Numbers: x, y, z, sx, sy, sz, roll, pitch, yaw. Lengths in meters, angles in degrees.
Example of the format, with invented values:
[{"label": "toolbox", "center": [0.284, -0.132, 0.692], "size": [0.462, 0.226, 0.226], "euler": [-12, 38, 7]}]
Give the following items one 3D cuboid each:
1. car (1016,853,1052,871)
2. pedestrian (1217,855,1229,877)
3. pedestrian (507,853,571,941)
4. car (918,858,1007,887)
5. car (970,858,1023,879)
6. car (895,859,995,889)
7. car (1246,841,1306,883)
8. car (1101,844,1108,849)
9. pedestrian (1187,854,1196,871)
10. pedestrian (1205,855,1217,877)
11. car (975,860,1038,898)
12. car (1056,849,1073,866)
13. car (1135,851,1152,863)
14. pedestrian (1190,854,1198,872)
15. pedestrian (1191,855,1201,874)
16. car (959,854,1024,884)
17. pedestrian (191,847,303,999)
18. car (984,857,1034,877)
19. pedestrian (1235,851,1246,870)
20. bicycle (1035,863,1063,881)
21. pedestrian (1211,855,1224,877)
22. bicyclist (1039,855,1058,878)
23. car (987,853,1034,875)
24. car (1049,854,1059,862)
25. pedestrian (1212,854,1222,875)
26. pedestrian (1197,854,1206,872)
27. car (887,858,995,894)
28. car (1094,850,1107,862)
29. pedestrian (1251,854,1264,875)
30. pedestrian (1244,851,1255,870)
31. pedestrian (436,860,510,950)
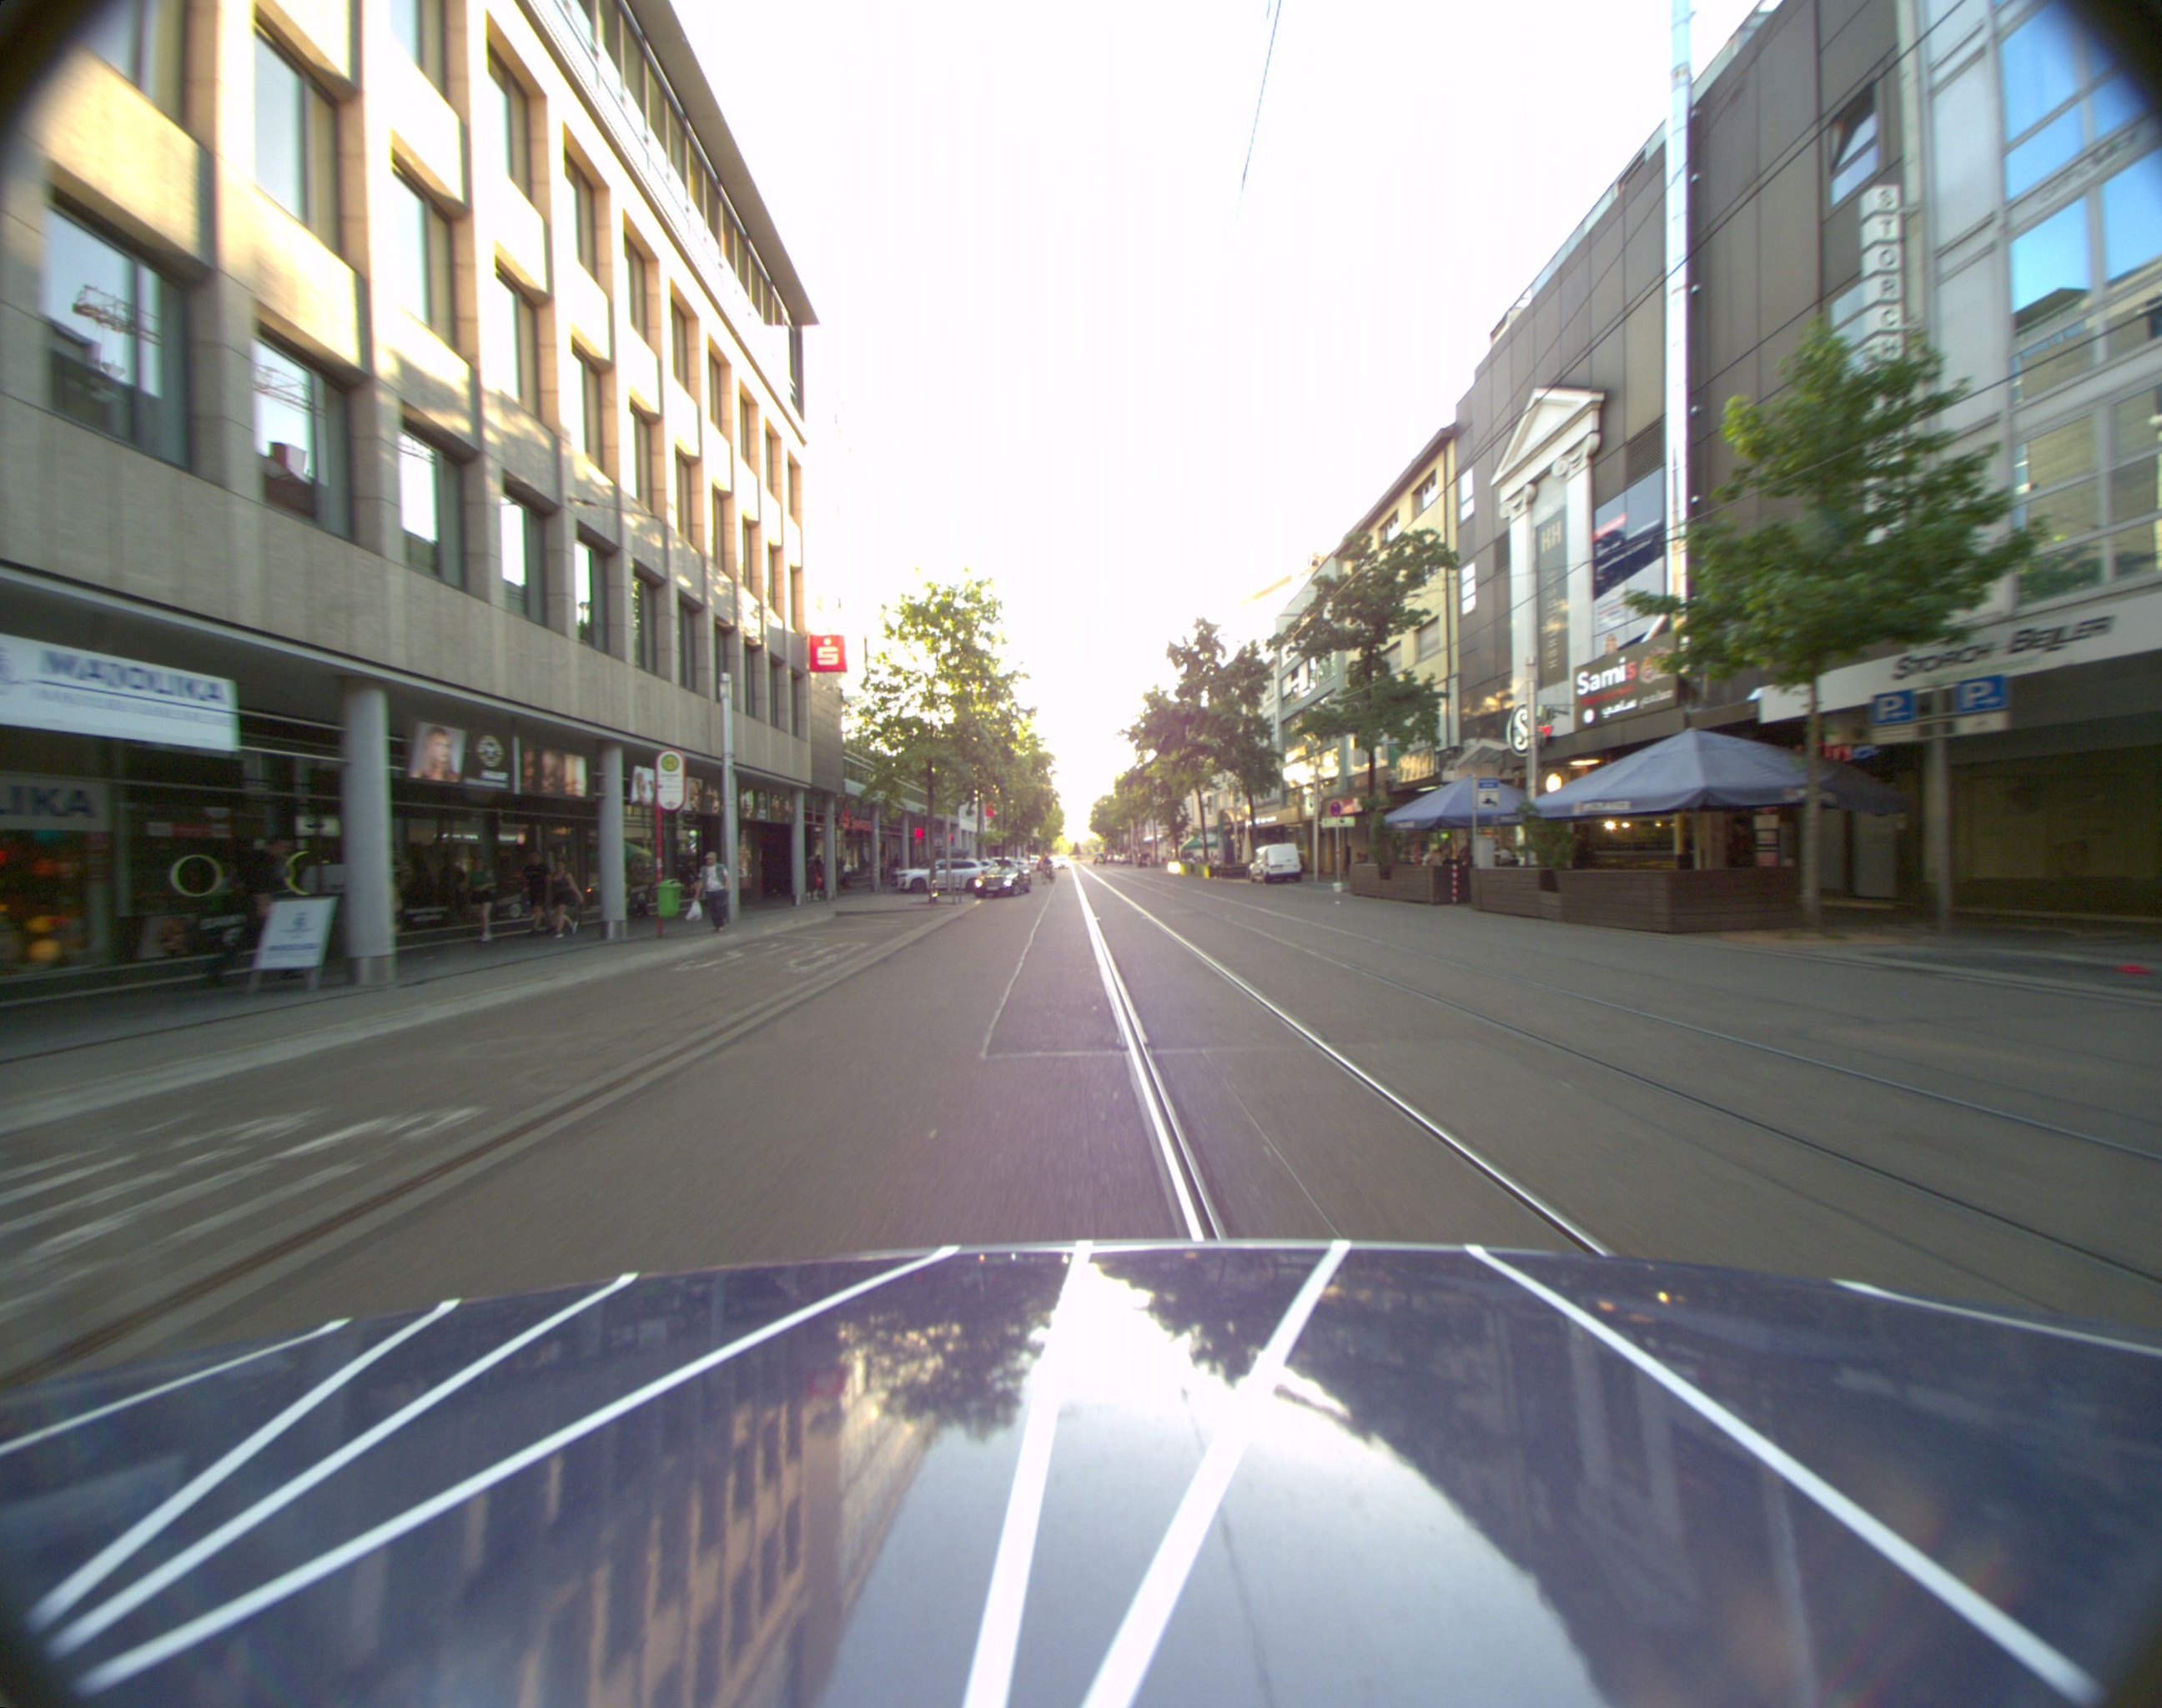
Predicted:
[{"label": "car", "center": [-5.212, 0.857, 85.516], "size": [1.860, 1.776, 4.007], "euler": [-4, 1, 34]}, {"label": "pedestrian", "center": [9.551, 0.778, 51.141], "size": [0.649, 1.451, 0.651], "euler": [-1, 1, 17]}, {"label": "pedestrian", "center": [-11.297, 0.873, 15.868], "size": [0.675, 1.762, 0.863], "euler": [-1, 1, -1]}, {"label": "car", "center": [-6.695, 1.018, 43.102], "size": [4.646, 1.578, 1.913], "euler": [1, 0, -35]}, {"label": "car", "center": [-7.163, 1.214, 64.373], "size": [4.005, 1.501, 1.796], "euler": [-4, 1, -30]}, {"label": "car", "center": [-6.872, 1.006, 38.469], "size": [4.644, 1.431, 1.914], "euler": [1, 0, -28]}, {"label": "car", "center": [9.475, 0.382, 37.268], "size": [1.830, 1.811, 4.330], "euler": [-4, 0, 1]}, {"label": "car", "center": [6.658, -2.078, 216.566], "size": [1.799, 1.501, 4.000], "euler": [-1, 0, 0]}, {"label": "pedestrian", "center": [9.127, 0.727, 62.720], "size": [0.649, 1.378, 0.650], "euler": [-1, 1, 6]}, {"label": "pedestrian", "center": [8.755, 0.807, 51.290], "size": [0.649, 1.451, 0.650], "euler": [-1, 1, 0]}, {"label": "car", "center": [-3.164, 1.046, 33.242], "size": [1.798, 1.400, 4.567], "euler": [-2, 0, 6]}, {"label": "car", "center": [-2.075, 0.450, 96.790], "size": [1.998, 2.002, 4.000], "euler": [-1, 0, 0]}, {"label": "car", "center": [8.143, 0.412, 98.960], "size": [1.799, 1.501, 4.000], "euler": [-1, 0, 0]}, {"label": "pedestrian", "center": [9.135, 0.738, 61.478], "size": [0.649, 1.378, 0.650], "euler": [-1, 1, 6]}, {"label": "pedestrian", "center": [8.705, 0.789, 57.583], "size": [0.649, 1.378, 0.650], "euler": [-1, 1, 6]}, {"label": "car", "center": [-6.753, 1.124, 57.560], "size": [4.474, 1.869, 1.796], "euler": [-4, 1, -37]}, {"label": "pedestrian", "center": [-10.605, 0.847, 9.684], "size": [0.617, 1.878, 0.683], "euler": [-1, 1, 1]}, {"label": "car", "center": [-6.425, 1.154, 67.925], "size": [4.005, 1.501, 1.861], "euler": [-4, 1, -30]}, {"label": "pedestrian", "center": [12.571, 0.515, 59.977], "size": [0.650, 1.451, 0.650], "euler": [-1, 1, -3]}, {"label": "bicycle", "center": [-1.934, 1.068, 46.295], "size": [0.734, 1.067, 1.861], "euler": [-2, 1, -38]}, {"label": "pedestrian", "center": [9.049, 0.804, 50.352], "size": [0.648, 1.451, 0.651], "euler": [-1, 1, 29]}, {"label": "bicyclist", "center": [-1.964, 0.750, 46.315], "size": [0.762, 1.406, 0.895], "euler": [-2, 1, -38]}, {"label": "car", "center": [-6.752, 0.944, 72.633], "size": [4.004, 1.776, 1.861], "euler": [-4, 1, -24]}, {"label": "car", "center": [-5.158, 0.774, 146.898], "size": [1.793, 1.499, 3.999], "euler": [-2, 1, 0]}, {"label": "pedestrian", "center": [9.704, 0.744, 54.261], "size": [0.649, 1.451, 0.651], "euler": [-1, 1, 13]}, {"label": "pedestrian", "center": [9.728, 0.716, 61.454], "size": [0.649, 1.378, 0.650], "euler": [-1, 1, 6]}, {"label": "car", "center": [-6.562, 1.034, 35.770], "size": [4.646, 1.619, 1.914], "euler": [1, -2, -32]}, {"label": "car", "center": [3.258, 0.359, 128.761], "size": [1.998, 2.002, 4.000], "euler": [-1, 0, 0]}, {"label": "pedestrian", "center": [12.400, 0.723, 53.461], "size": [0.650, 1.451, 0.649], "euler": [-1, 1, -9]}, {"label": "pedestrian", "center": [13.091, 0.504, 59.065], "size": [0.650, 1.451, 0.650], "euler": [-1, 1, -3]}, {"label": "pedestrian", "center": [-11.484, 0.949, 14.373], "size": [0.712, 1.634, 0.818], "euler": [-1, 1, -1]}]
